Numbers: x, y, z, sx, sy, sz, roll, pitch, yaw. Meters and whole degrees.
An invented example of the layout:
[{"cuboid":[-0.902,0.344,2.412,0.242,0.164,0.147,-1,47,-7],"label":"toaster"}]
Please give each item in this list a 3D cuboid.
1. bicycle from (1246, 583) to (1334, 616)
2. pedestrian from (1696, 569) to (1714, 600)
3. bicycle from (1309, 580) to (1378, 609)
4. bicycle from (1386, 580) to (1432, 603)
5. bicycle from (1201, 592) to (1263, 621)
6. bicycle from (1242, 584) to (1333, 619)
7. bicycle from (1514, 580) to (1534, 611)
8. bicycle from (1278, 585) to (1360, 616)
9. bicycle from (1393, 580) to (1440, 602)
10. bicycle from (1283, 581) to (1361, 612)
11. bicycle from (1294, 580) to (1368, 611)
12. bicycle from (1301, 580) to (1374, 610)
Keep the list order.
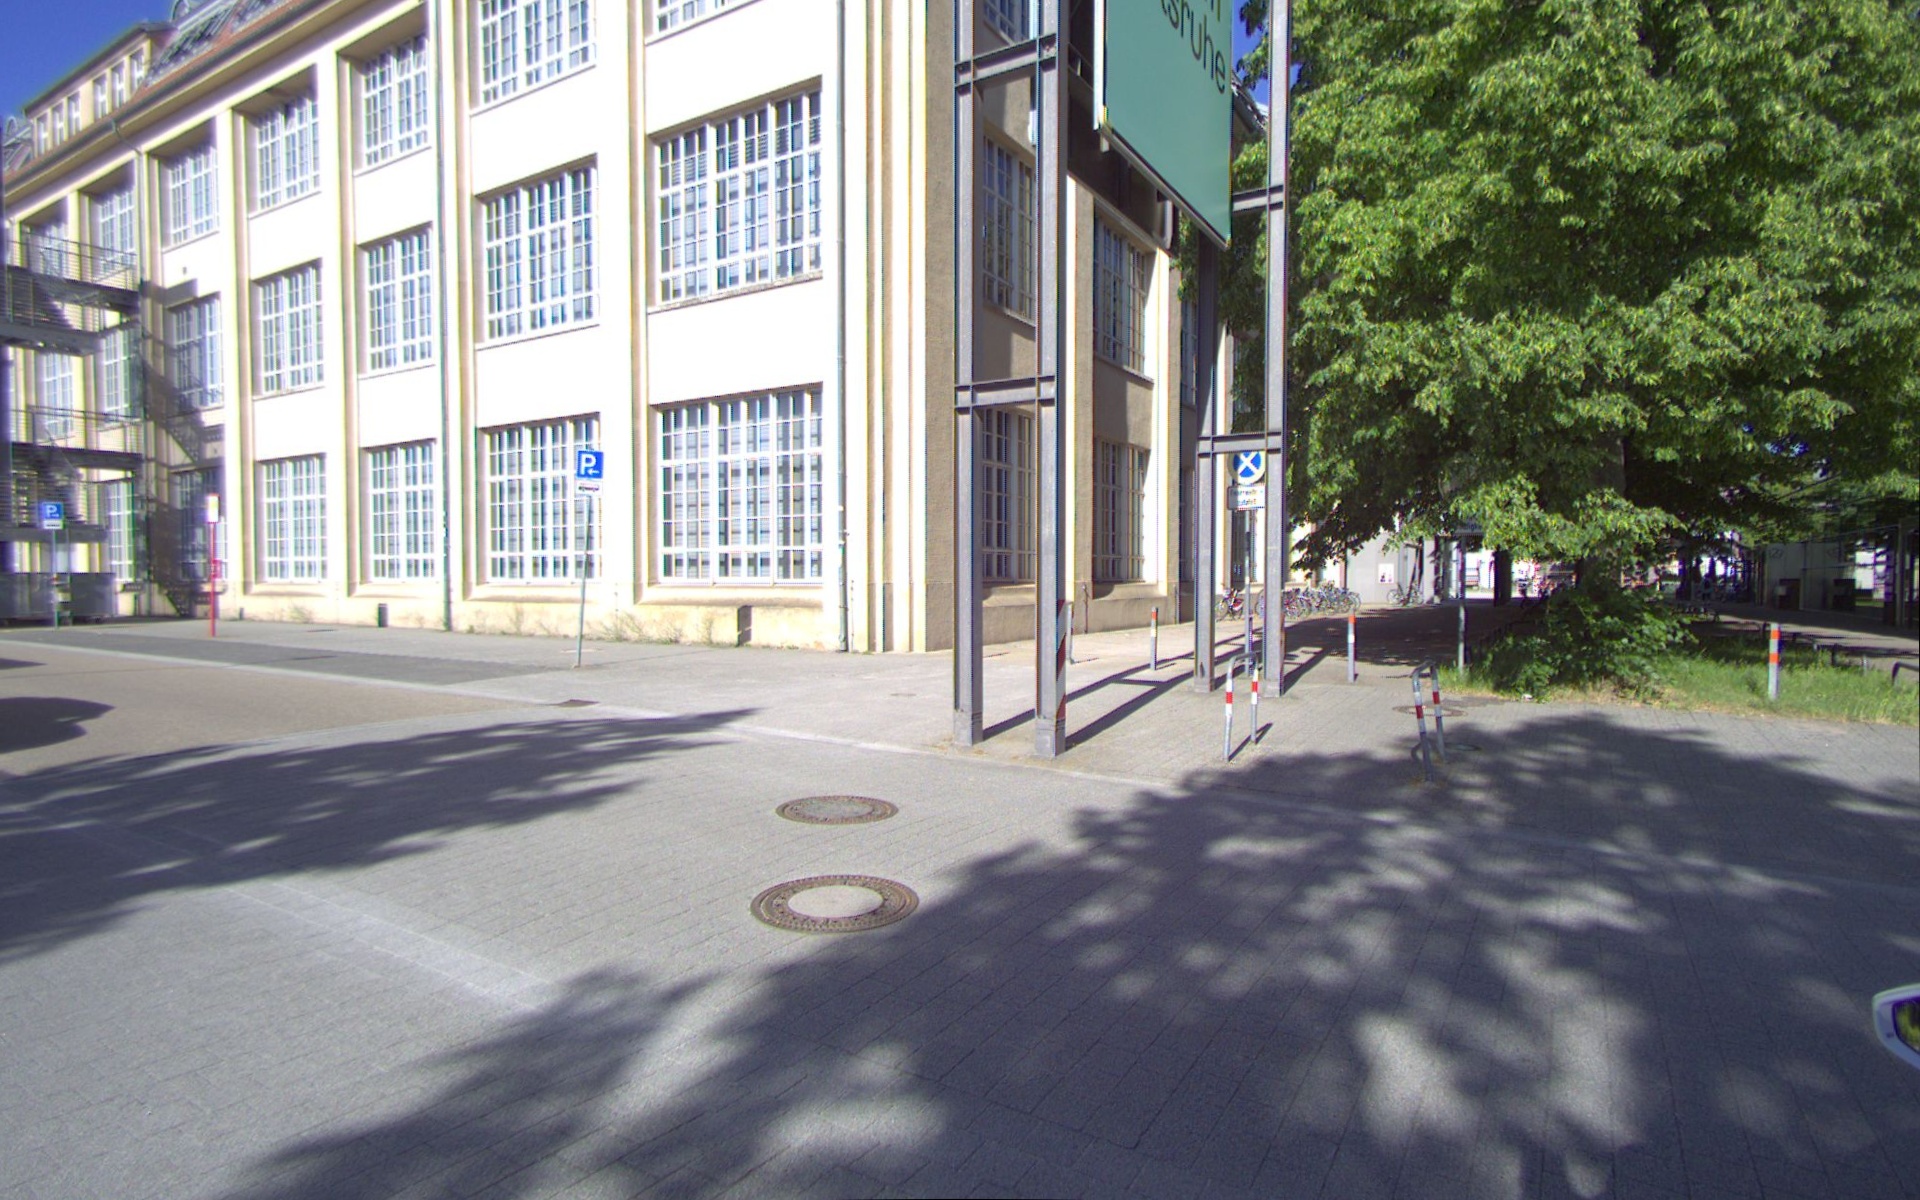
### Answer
[{"cuboid":[11.353,-0.042,34.613,2.761,1.077,0.717,1,2,33],"label":"bicycle"},{"cuboid":[37.816,-0.781,50.967,0.708,1.571,0.687,1,3,38],"label":"pedestrian"},{"cuboid":[16.234,-0.245,42.548,2.690,1.166,0.717,1,2,28],"label":"bicycle"},{"cuboid":[21.971,-0.416,49.172,2.030,1.081,0.505,1,2,35],"label":"bicycle"},{"cuboid":[8.542,0.192,31.430,0.769,0.803,2.870,2,2,39],"label":"bicycle"},{"cuboid":[10.771,0.023,33.077,2.758,1.077,0.717,1,2,28],"label":"bicycle"},{"cuboid":[23.372,-0.203,41.607,0.609,1.213,2.128,1,2,27],"label":"bicycle"},{"cuboid":[13.170,0.012,36.914,2.758,1.077,0.717,1,2,28],"label":"bicycle"},{"cuboid":[22.545,-0.462,49.642,2.030,1.081,0.505,1,2,35],"label":"bicycle"},{"cuboid":[14.035,-0.142,38.974,2.758,1.166,0.717,1,2,28],"label":"bicycle"},{"cuboid":[14.871,-0.200,40.290,2.690,1.166,0.717,1,2,28],"label":"bicycle"},{"cuboid":[15.355,-0.222,40.915,2.690,1.166,0.717,1,2,28],"label":"bicycle"}]
